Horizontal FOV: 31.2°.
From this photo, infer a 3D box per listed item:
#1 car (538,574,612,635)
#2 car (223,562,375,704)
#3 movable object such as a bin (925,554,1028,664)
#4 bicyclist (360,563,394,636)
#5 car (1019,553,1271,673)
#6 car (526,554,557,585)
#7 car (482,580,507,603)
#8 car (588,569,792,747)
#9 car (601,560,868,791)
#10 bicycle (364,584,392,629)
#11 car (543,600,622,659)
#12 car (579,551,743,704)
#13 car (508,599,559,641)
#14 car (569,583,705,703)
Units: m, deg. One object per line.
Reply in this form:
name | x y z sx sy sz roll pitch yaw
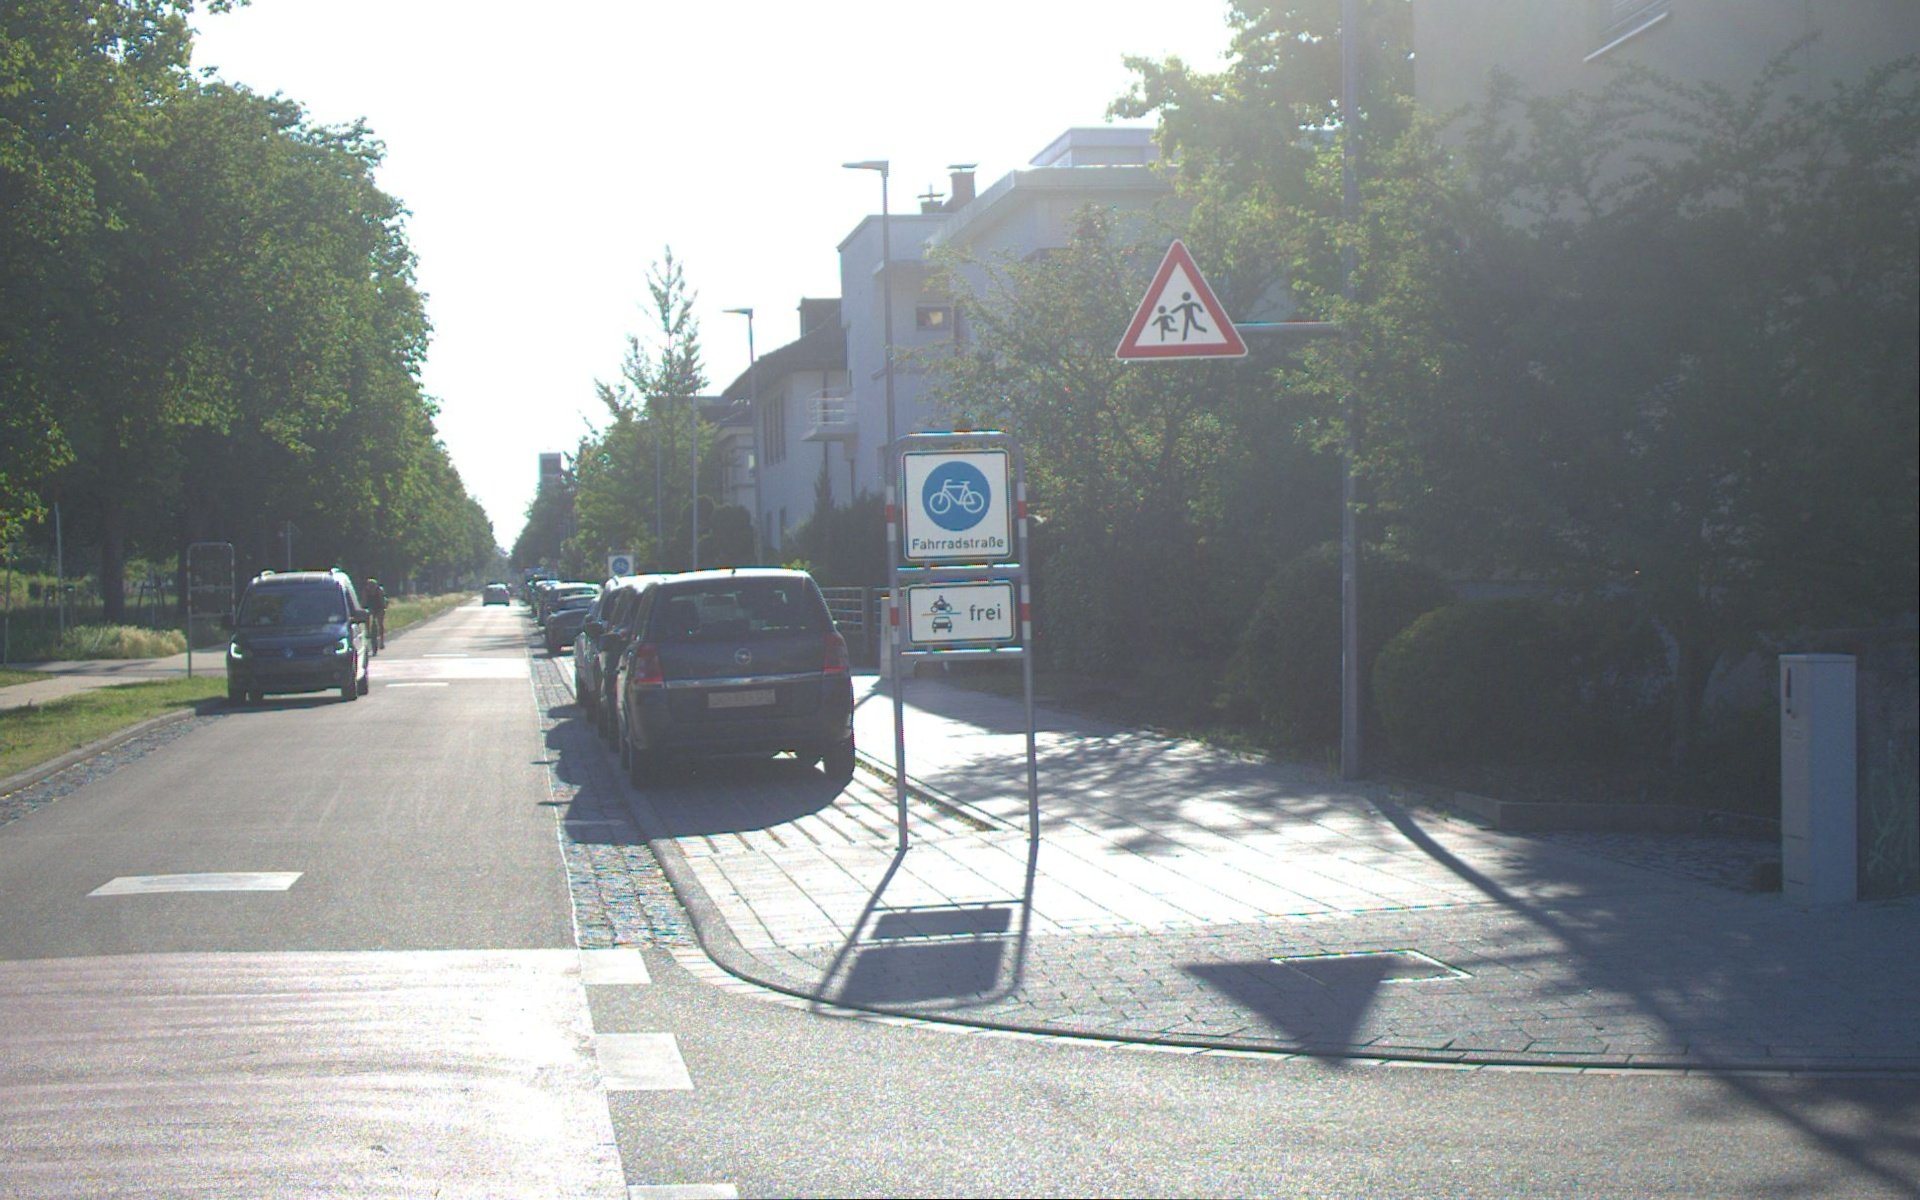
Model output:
car | -10.357 0.109 92.231 1.744 1.469 3.923 -4 1 -8
car | -9.352 0.446 48.904 1.843 1.841 4.574 -3 0 -8
movable object such as a bin | 0.212 0.116 45.686 1.237 1.427 1.123 -1 0 -5
bicyclist | -13.567 -0.017 80.075 0.681 1.667 1.173 -2 0 -8
car | 2.605 0.175 48.967 3.493 1.636 1.643 -1 0 1
car | -21.550 -1.559 177.172 1.498 1.561 3.267 -2 1 -6
car | -31.618 -0.585 233.764 1.651 1.536 3.267 0 0 -7
car | -2.684 0.509 33.452 1.678 1.550 4.145 -3 1 -8
car | -1.884 0.533 27.547 1.710 1.605 4.169 -3 1 -8
bicycle | -13.556 0.147 80.116 0.556 1.028 1.915 -2 0 -8
car | -8.903 0.674 80.833 1.774 1.284 4.273 -1 1 -7
car | -3.421 0.272 38.856 1.678 1.550 4.131 -3 1 -6
car | -15.899 0.735 128.077 1.736 1.444 4.198 -3 0 -9
car | -4.221 0.517 44.455 1.563 1.385 4.375 -3 1 -7
